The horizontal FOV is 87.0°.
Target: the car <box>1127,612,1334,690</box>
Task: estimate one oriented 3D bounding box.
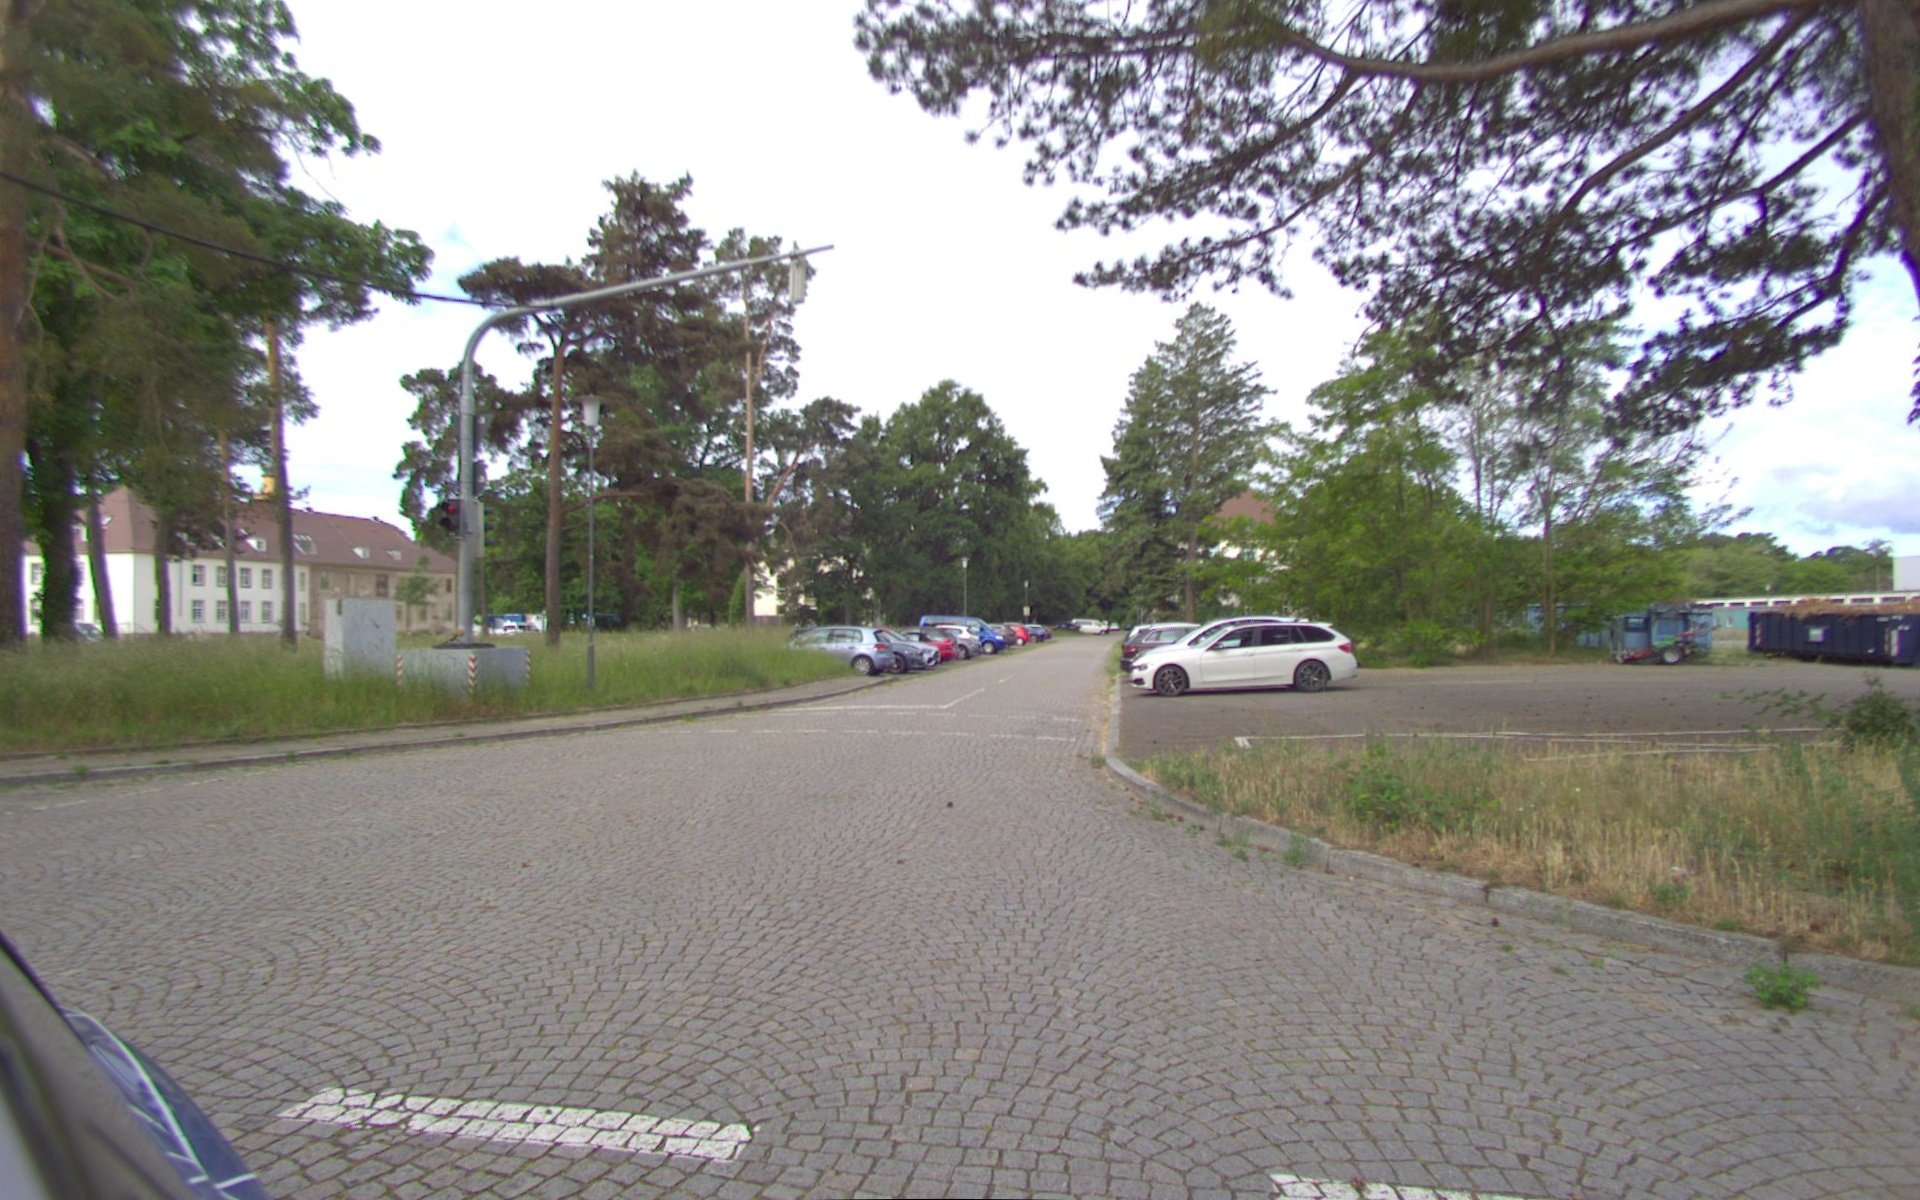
[{"bbox_3d":[6.225,1.182,23.697,4.321,1.610,1.870,-2,-2,5],"label":"car"}]

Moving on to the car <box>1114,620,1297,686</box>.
[{"bbox_3d":[6.285,1.364,26.362,4.398,1.435,1.717,-3,-2,8],"label":"car"}]

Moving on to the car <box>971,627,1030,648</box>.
[{"bbox_3d":[2.904,2.664,72.414,4.045,1.455,1.720,0,-2,12],"label":"car"}]

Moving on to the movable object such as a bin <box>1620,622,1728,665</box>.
[{"bbox_3d":[19.599,1.189,27.817,2.243,1.134,0.856,0,-1,9],"label":"movable object such as a bin"}]

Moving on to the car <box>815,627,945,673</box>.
[{"bbox_3d":[-2.771,1.706,35.245,4.208,1.485,1.710,0,-2,13],"label":"car"}]

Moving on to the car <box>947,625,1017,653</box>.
[{"bbox_3d":[1.382,2.386,62.241,4.046,1.605,1.647,0,-2,13],"label":"car"}]

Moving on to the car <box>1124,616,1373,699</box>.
[{"bbox_3d":[5.875,1.195,21.173,4.699,1.499,1.862,-2,-3,8],"label":"car"}]

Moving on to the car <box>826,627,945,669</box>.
[{"bbox_3d":[-2.758,1.768,37.755,4.142,1.493,1.711,0,-2,11],"label":"car"}]

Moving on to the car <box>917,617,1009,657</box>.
[{"bbox_3d":[0.180,1.944,53.449,4.558,2.021,1.904,0,-1,13],"label":"car"}]

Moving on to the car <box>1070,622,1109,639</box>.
[{"bbox_3d":[17.202,4.014,134.320,5.091,2.166,1.771,0,-2,8],"label":"car"}]

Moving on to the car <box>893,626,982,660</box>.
[{"bbox_3d":[-1.058,2.033,48.185,4.013,1.528,1.594,0,-2,13],"label":"car"}]

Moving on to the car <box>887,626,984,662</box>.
[{"bbox_3d":[-1.067,1.952,45.223,4.060,1.528,1.693,0,-2,13],"label":"car"}]

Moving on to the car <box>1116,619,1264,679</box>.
[{"bbox_3d":[6.530,1.392,29.029,3.915,1.481,1.581,-3,-2,7],"label":"car"}]

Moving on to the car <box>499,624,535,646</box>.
[{"bbox_3d":[-52.794,4.150,120.630,1.843,2.382,4.433,-2,-1,10],"label":"car"}]

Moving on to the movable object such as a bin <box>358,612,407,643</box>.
[{"bbox_3d":[-72.175,3.437,126.559,5.411,3.798,2.043,-2,-1,14],"label":"movable object such as a bin"}]

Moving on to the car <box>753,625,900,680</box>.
[{"bbox_3d":[-3.919,1.527,30.015,3.968,1.439,1.693,2,-1,9],"label":"car"}]

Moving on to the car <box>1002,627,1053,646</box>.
[{"bbox_3d":[5.806,3.124,87.112,4.063,1.545,1.716,0,-2,18],"label":"car"}]

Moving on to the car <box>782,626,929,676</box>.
[{"bbox_3d":[-3.324,1.620,32.567,4.392,1.394,1.659,2,-1,9],"label":"car"}]

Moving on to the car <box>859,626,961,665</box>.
[{"bbox_3d":[-2.088,1.887,42.551,4.013,1.528,1.594,0,-2,13],"label":"car"}]

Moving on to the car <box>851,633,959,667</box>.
[{"bbox_3d":[-2.143,1.963,39.852,4.010,1.250,1.544,0,-2,11],"label":"car"}]

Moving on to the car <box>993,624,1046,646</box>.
[{"bbox_3d":[4.843,2.814,82.545,4.053,1.708,1.716,0,-2,18],"label":"car"}]
